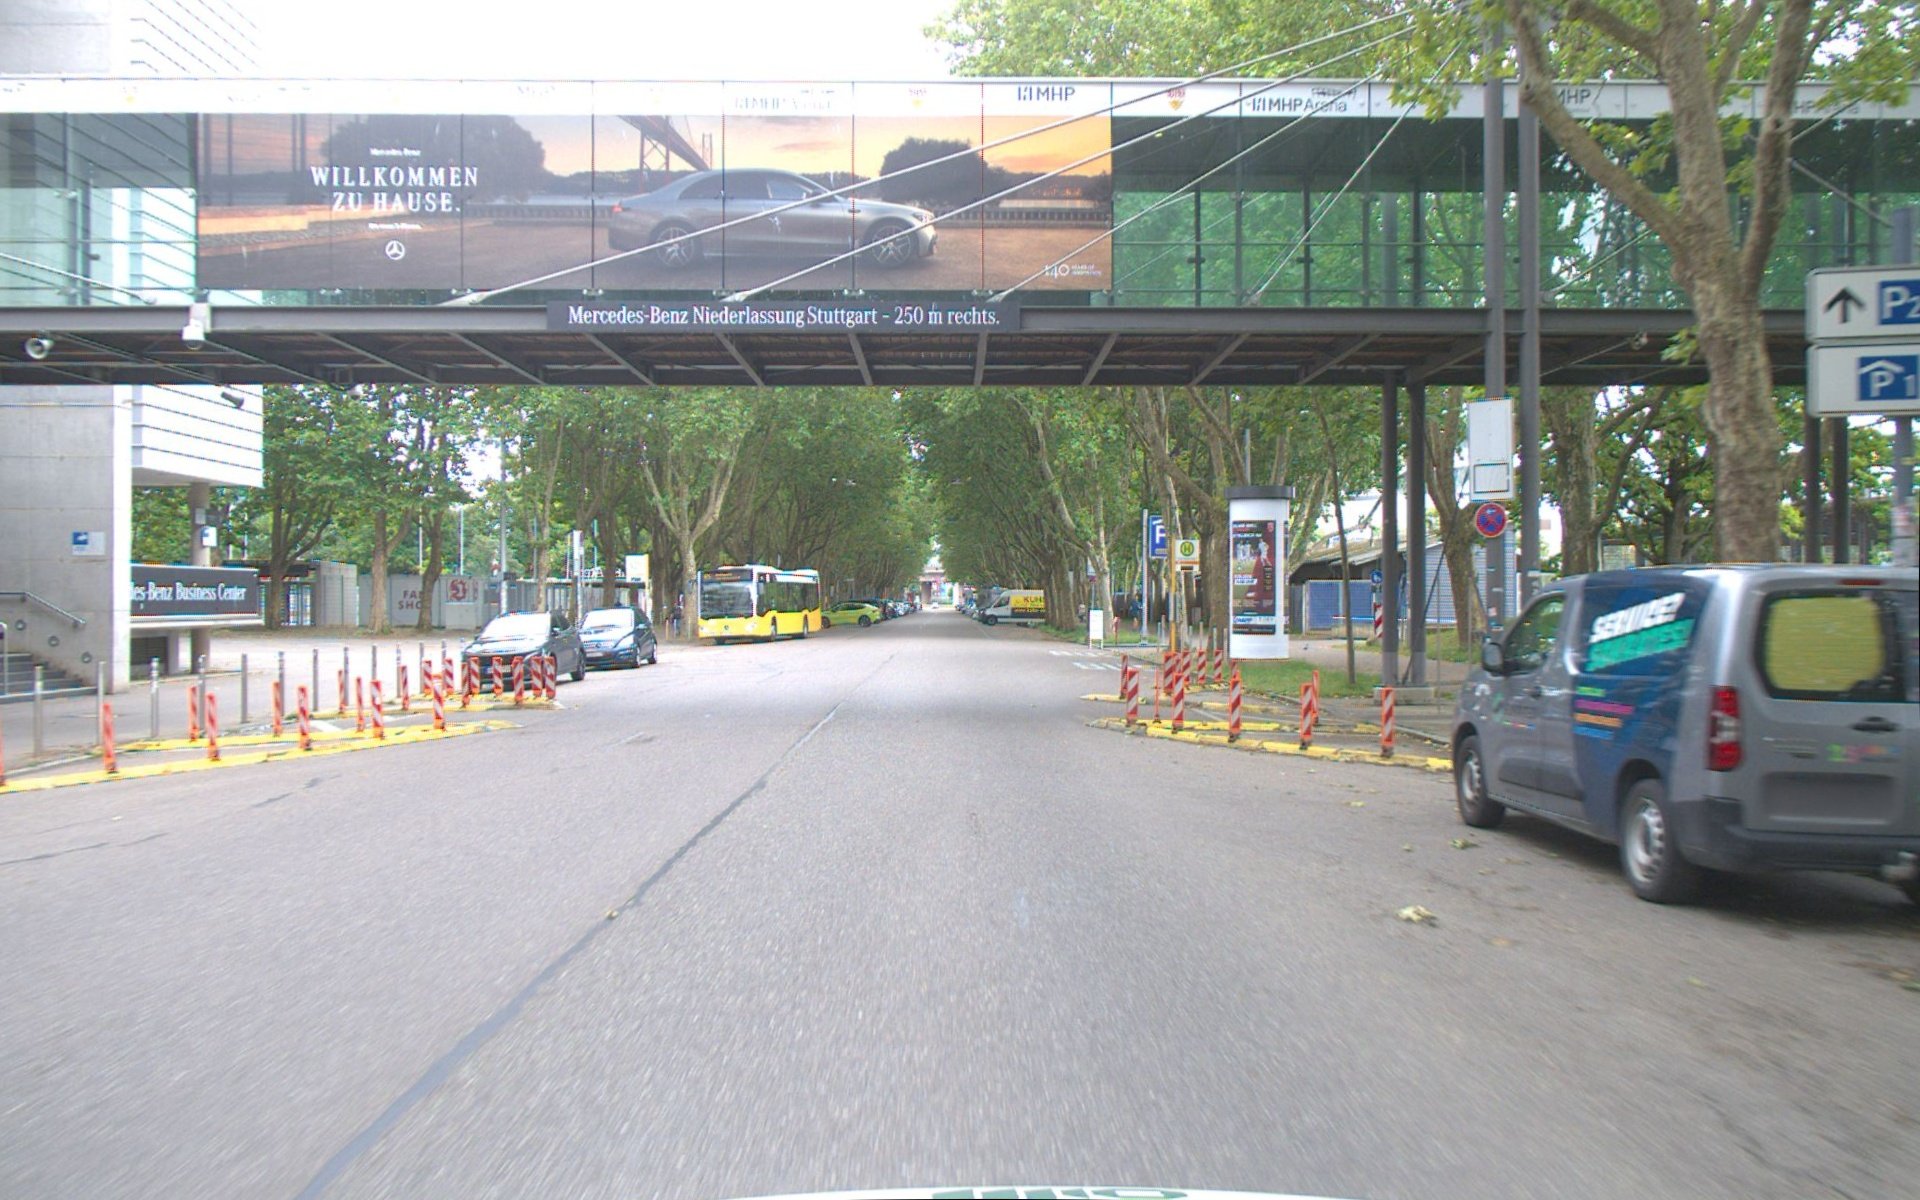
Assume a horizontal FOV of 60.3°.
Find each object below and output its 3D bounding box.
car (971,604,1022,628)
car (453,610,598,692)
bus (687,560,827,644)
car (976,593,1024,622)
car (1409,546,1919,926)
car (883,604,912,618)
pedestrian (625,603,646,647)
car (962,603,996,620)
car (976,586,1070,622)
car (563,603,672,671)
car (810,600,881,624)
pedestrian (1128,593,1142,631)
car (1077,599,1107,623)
[{"bbox_3d":[2.827,1.224,127.971,3.906,1.825,1.542,0,0,-1],"label":"car"},{"bbox_3d":[-9.099,1.020,34.993,1.820,1.478,4.448,-3,0,0],"label":"car"},{"bbox_3d":[-8.501,0.090,71.398,2.974,3.215,12.686,-2,0,7],"label":"bus"},{"bbox_3d":[3.353,0.651,138.622,3.906,2.380,1.542,0,0,-1],"label":"car"},{"bbox_3d":[4.517,0.671,10.605,1.809,1.814,5.210,1,0,0],"label":"car"},{"bbox_3d":[-8.461,1.490,224.410,3.905,2.004,2.000,0,0,0],"label":"car"},{"bbox_3d":[-12.147,0.920,61.903,0.659,1.632,0.606,0,-1,-26],"label":"pedestrian"},{"bbox_3d":[1.993,1.193,173.754,3.548,1.825,1.542,0,0,-1],"label":"car"},{"bbox_3d":[4.532,0.278,120.546,6.686,2.557,2.315,0,0,-3],"label":"car"},{"bbox_3d":[-9.023,0.934,43.894,1.953,1.612,4.113,-3,0,0],"label":"car"},{"bbox_3d":[-7.632,0.801,110.489,4.603,1.612,1.864,0,0,0],"label":"car"},{"bbox_3d":[8.764,0.602,82.737,0.562,1.921,0.616,0,-1,-9],"label":"pedestrian"},{"bbox_3d":[10.062,0.818,126.258,1.953,1.803,4.000,0,0,0],"label":"car"}]
